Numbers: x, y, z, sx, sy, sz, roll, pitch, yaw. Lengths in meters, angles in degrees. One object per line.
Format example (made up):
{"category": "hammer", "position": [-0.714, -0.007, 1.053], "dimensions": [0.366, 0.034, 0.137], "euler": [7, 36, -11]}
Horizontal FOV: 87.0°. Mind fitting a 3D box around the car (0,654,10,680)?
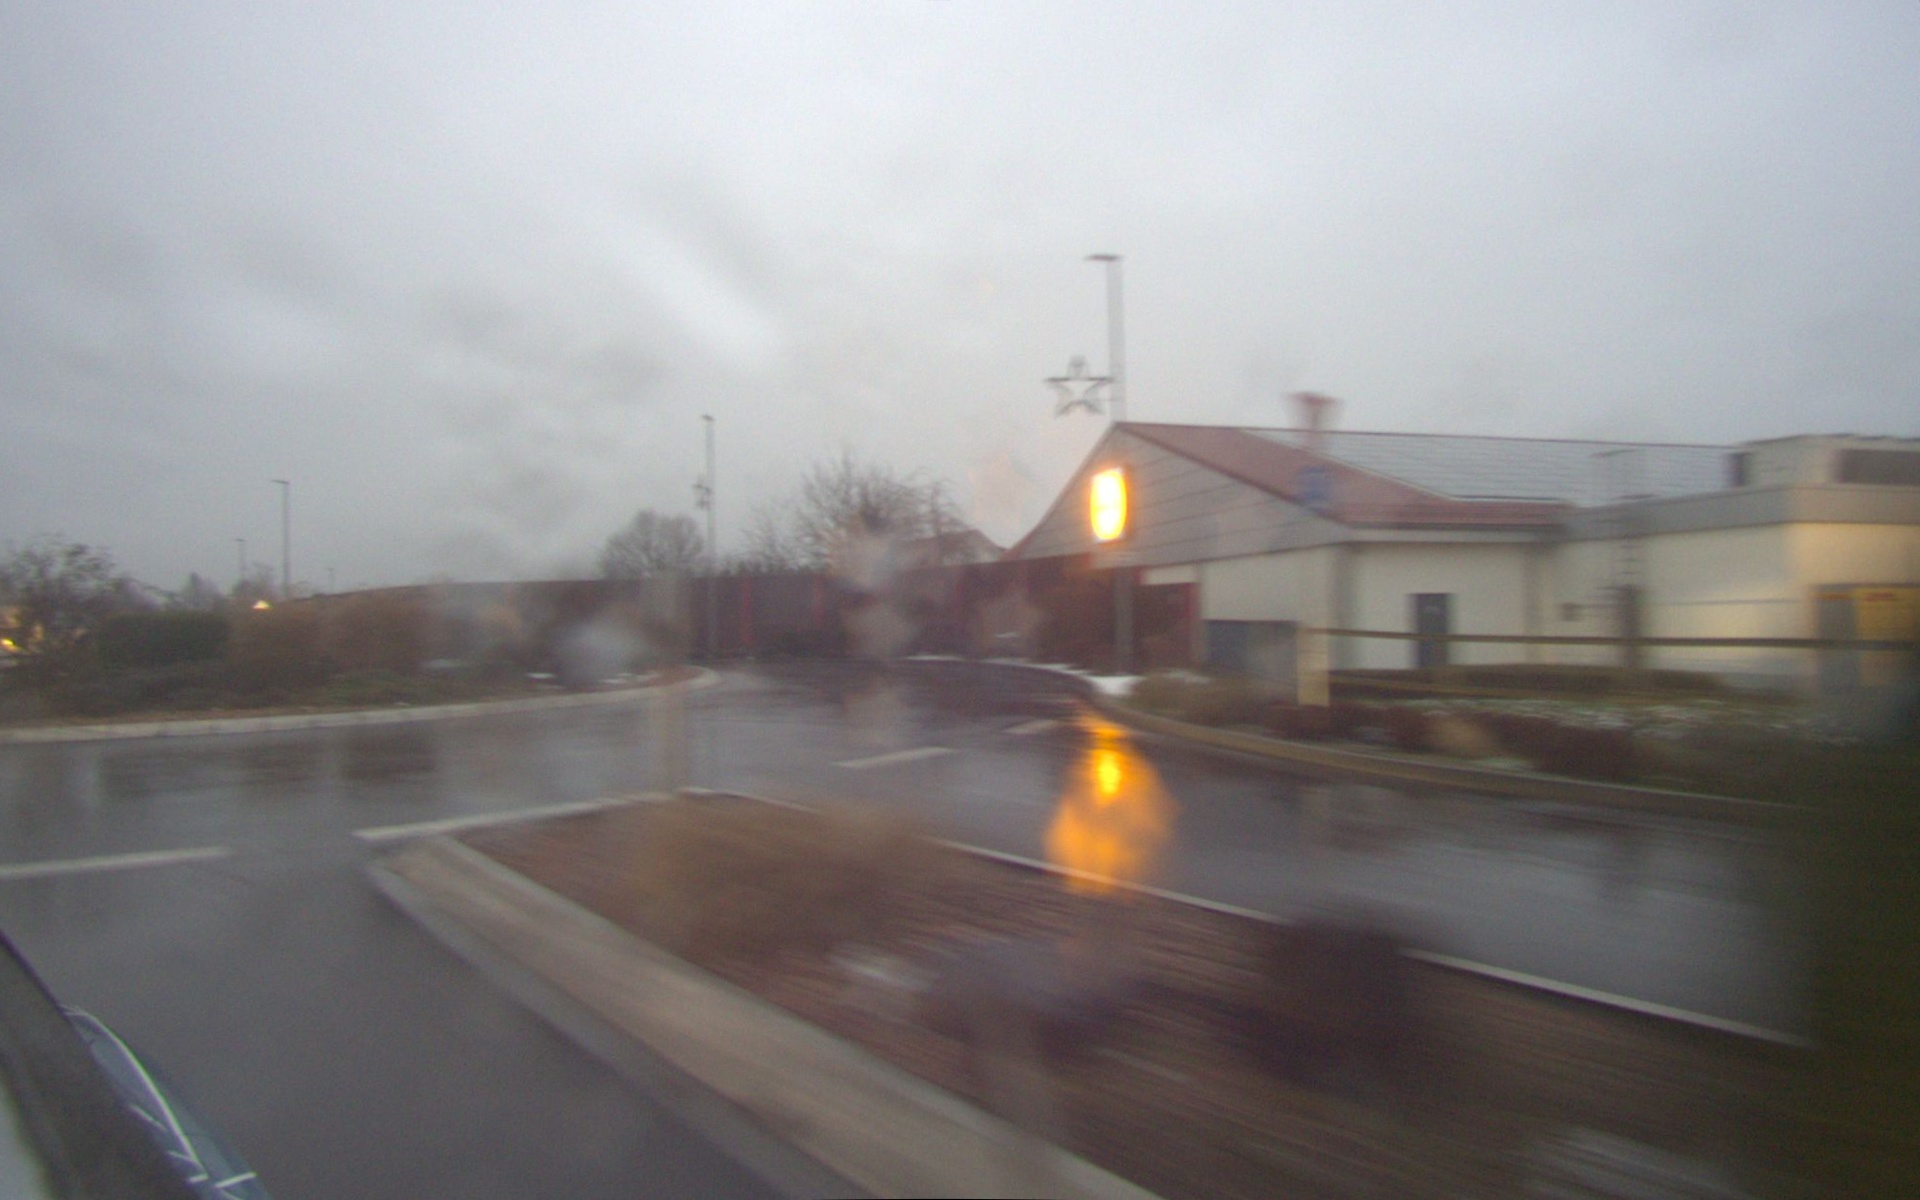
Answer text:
{"category": "car", "position": [-96.298, 6.597, 100.064], "dimensions": [5.225, 2.458, 2.255], "euler": [-1, -2, 34]}
